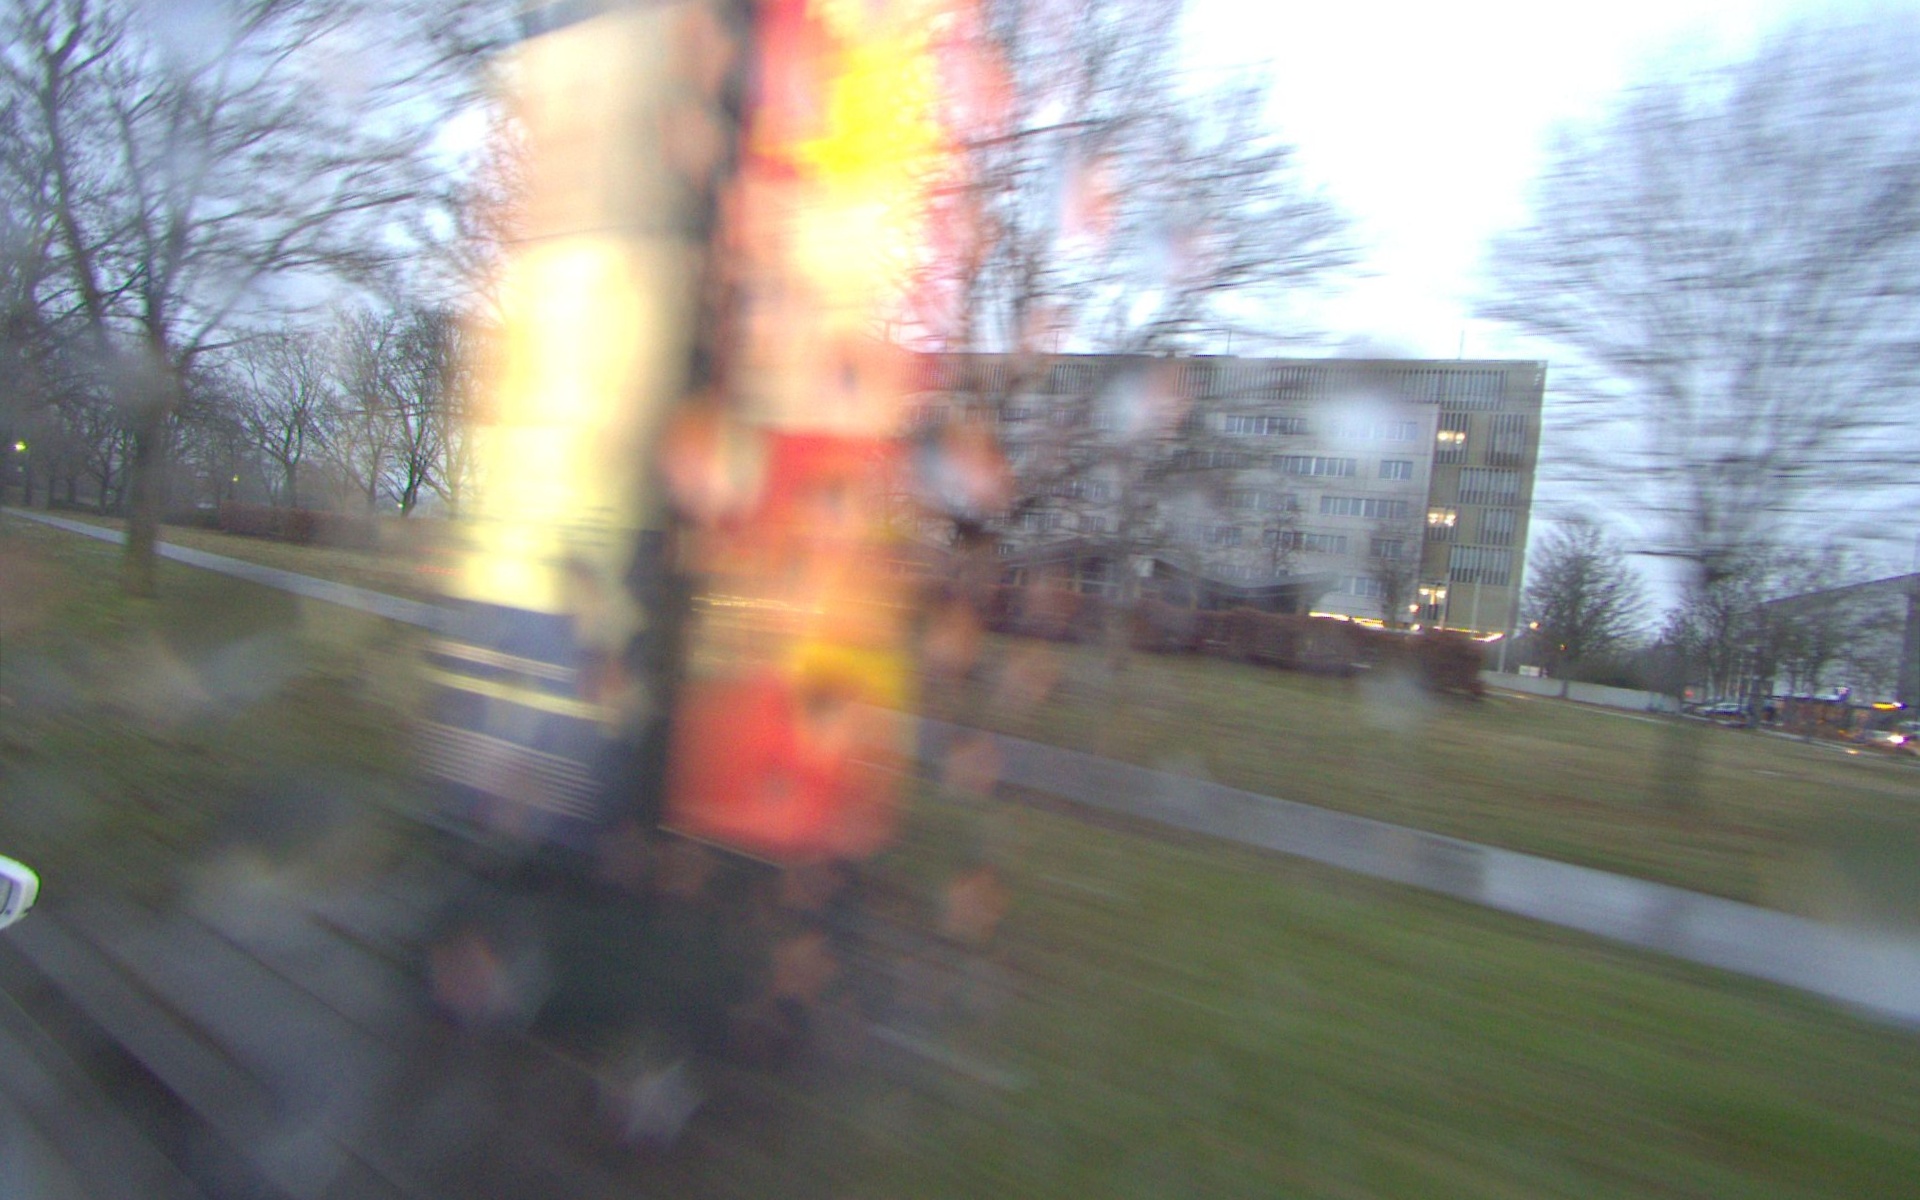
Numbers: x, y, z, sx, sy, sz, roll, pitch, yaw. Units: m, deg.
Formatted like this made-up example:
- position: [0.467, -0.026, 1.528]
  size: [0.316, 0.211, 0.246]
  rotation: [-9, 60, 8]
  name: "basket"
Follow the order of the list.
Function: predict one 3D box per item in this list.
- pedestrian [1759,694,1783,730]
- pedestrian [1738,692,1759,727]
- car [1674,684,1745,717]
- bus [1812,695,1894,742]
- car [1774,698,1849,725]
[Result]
- position: [49.082, 6.770, 60.896]
  size: [0.801, 2.037, 0.751]
  rotation: [6, -1, 25]
  name: "pedestrian"
- position: [48.229, 6.695, 61.524]
  size: [0.788, 2.037, 0.640]
  rotation: [6, -1, 30]
  name: "pedestrian"
- position: [59.335, 7.987, 79.767]
  size: [4.214, 2.037, 1.996]
  rotation: [5, -2, 33]
  name: "car"
- position: [61.895, 8.196, 69.936]
  size: [2.258, 2.743, 8.143]
  rotation: [6, -3, 29]
  name: "bus"
- position: [64.206, 8.380, 75.930]
  size: [3.932, 1.496, 1.834]
  rotation: [5, -2, 29]
  name: "car"
